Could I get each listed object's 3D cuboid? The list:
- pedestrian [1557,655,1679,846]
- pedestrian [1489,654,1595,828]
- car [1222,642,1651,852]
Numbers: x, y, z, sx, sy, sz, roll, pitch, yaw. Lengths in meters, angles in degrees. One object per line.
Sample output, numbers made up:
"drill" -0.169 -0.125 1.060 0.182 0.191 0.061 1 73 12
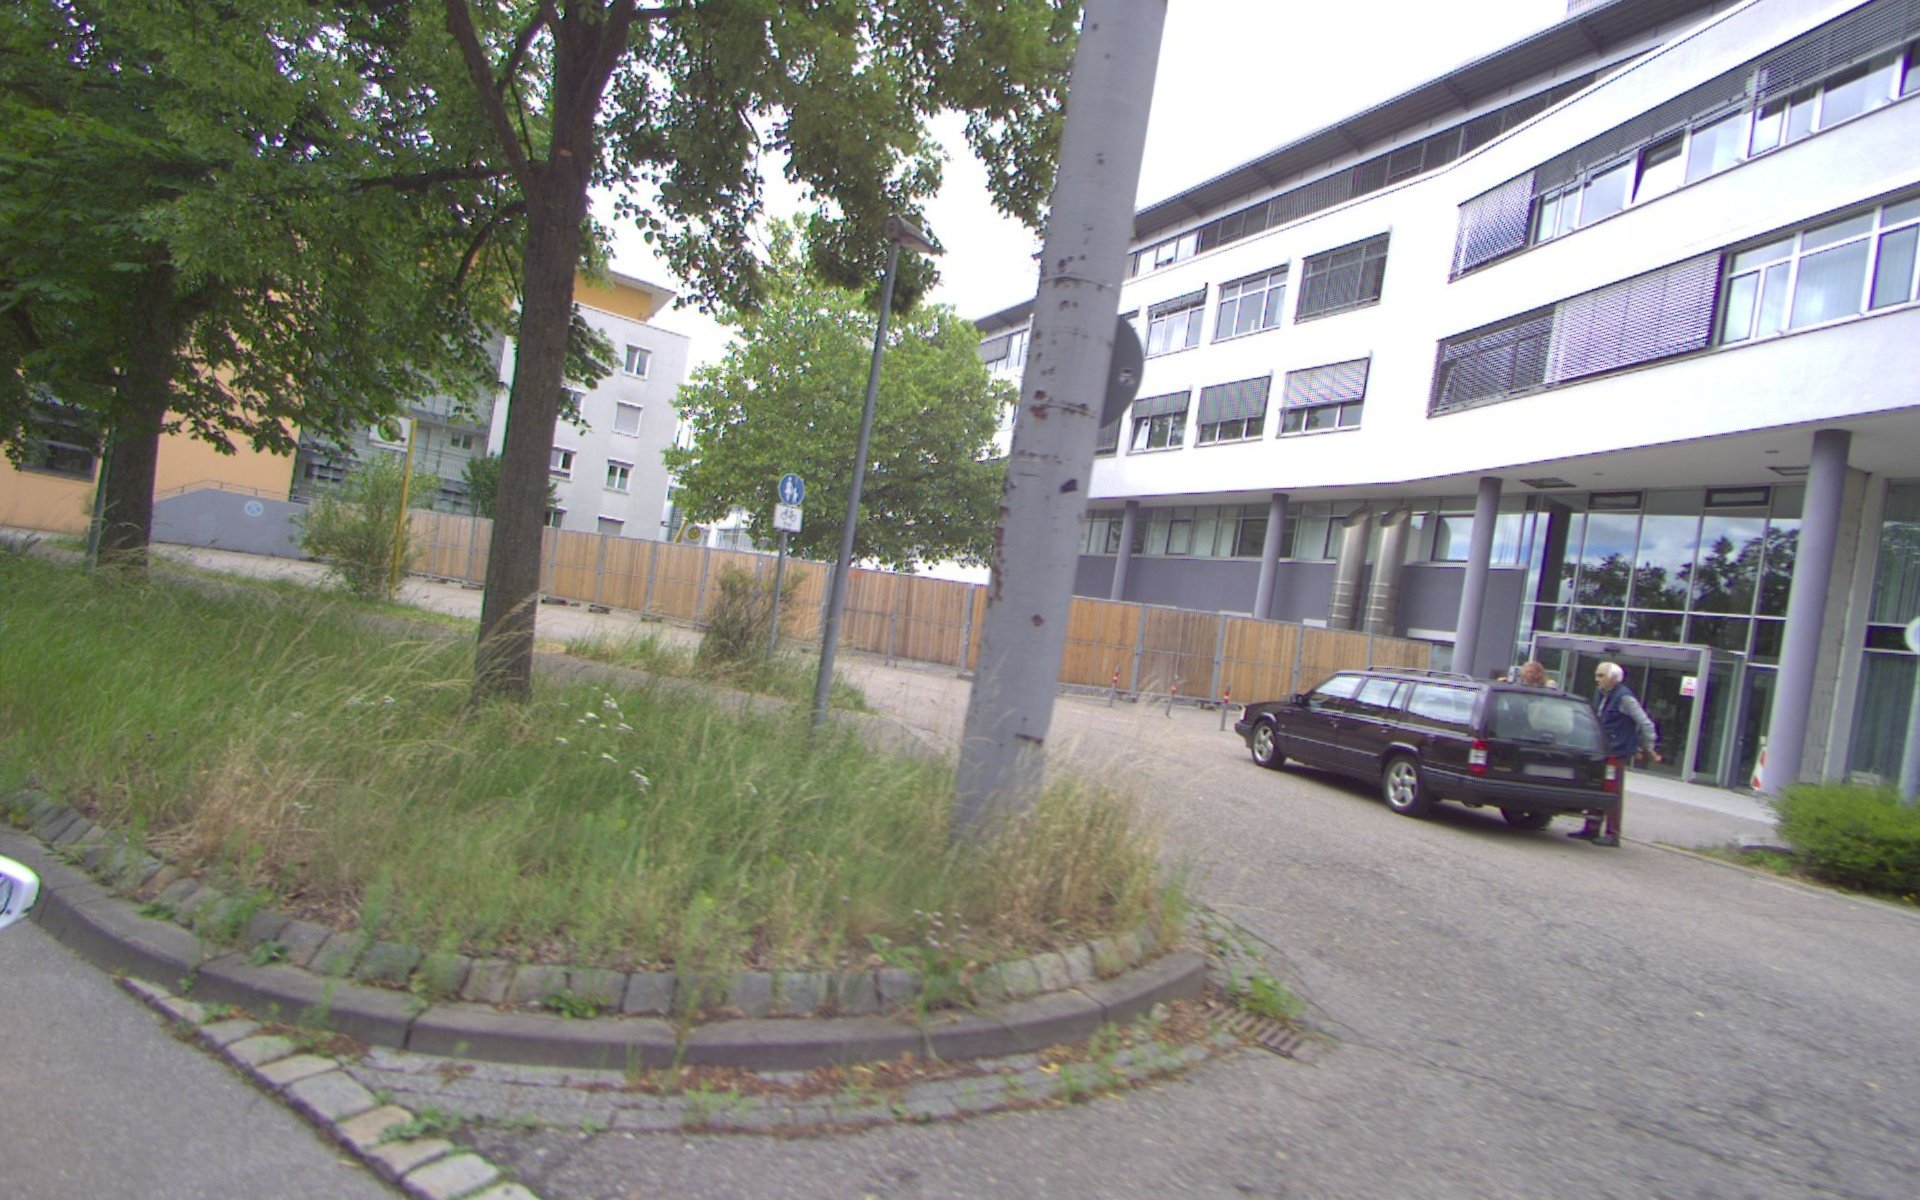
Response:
"pedestrian" 6.594 1.491 10.103 0.574 1.777 0.474 10 3 1
"pedestrian" 6.297 1.512 10.913 0.527 1.747 0.498 10 3 1
"car" 5.079 1.486 11.669 1.841 1.535 4.731 7 -1 -12
